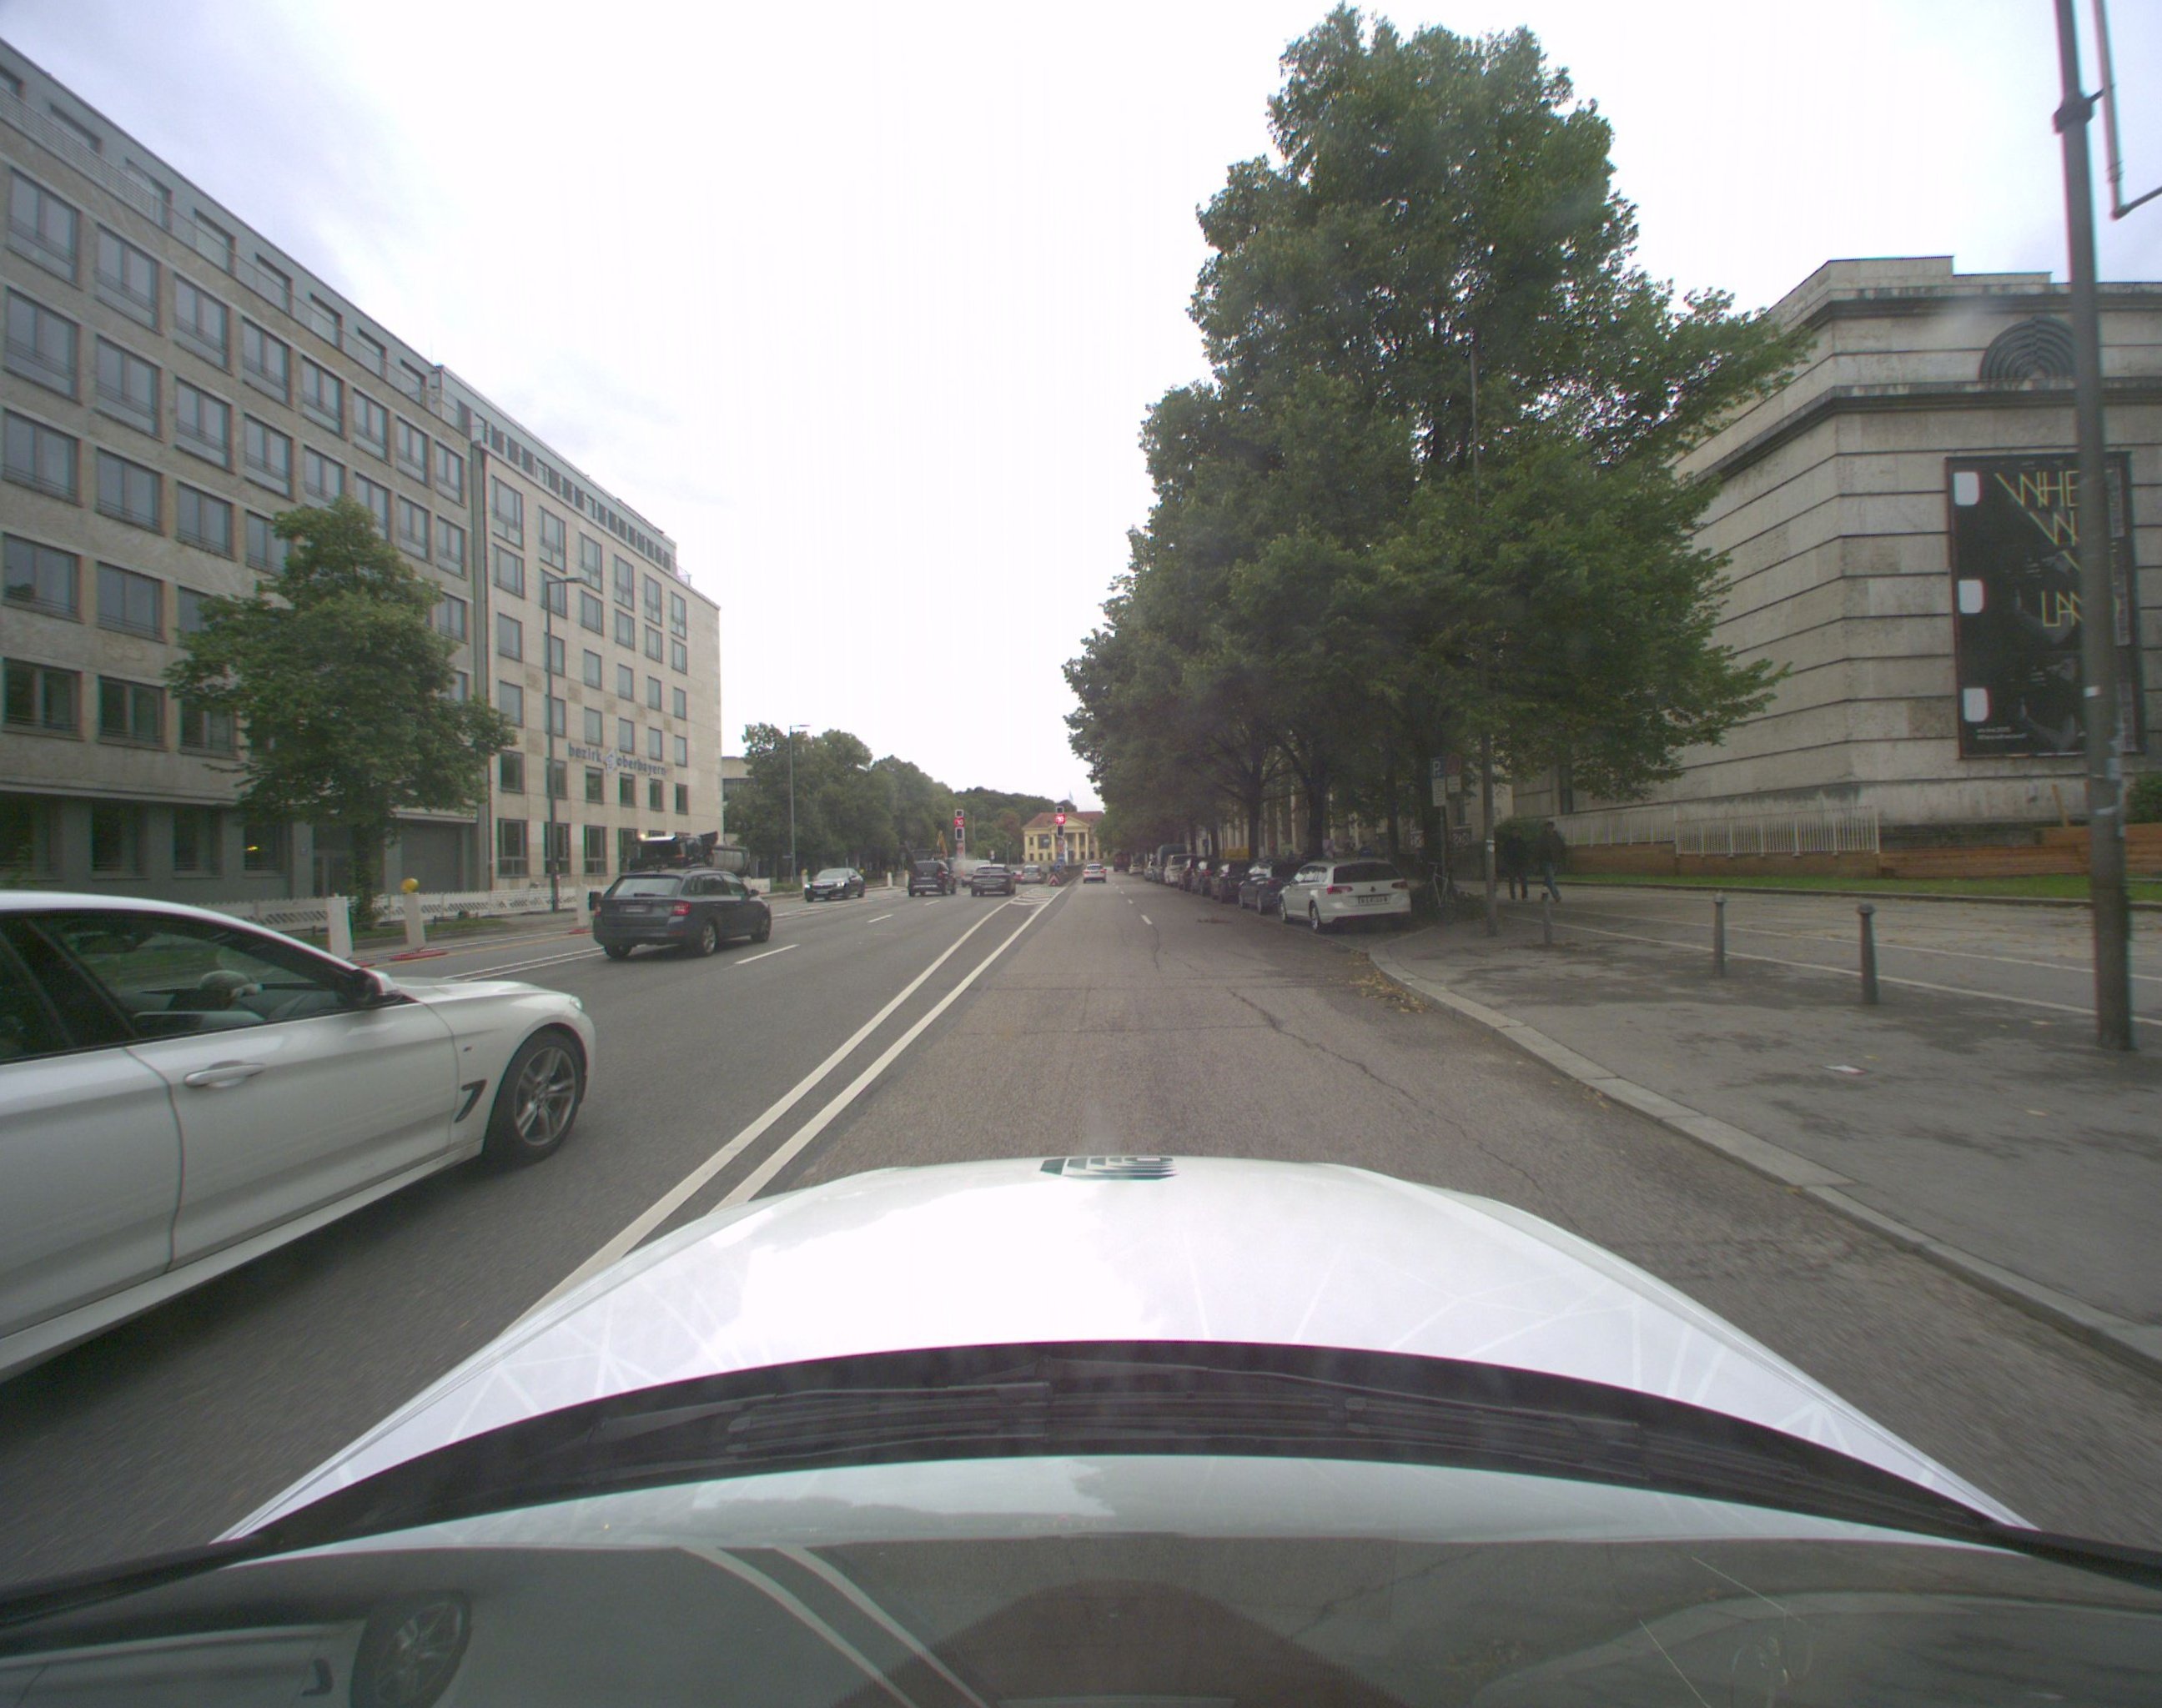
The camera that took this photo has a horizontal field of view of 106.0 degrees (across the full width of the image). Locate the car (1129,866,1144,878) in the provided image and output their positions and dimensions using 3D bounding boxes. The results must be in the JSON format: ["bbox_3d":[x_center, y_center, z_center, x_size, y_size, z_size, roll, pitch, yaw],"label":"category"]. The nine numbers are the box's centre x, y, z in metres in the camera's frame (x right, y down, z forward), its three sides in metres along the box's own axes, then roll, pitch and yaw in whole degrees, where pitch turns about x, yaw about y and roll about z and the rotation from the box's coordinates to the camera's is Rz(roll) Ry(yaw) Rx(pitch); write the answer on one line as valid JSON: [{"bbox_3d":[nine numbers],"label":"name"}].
[{"bbox_3d":[6.971,2.272,102.446,1.718,1.324,4.029,-2,-1,2],"label":"car"}]

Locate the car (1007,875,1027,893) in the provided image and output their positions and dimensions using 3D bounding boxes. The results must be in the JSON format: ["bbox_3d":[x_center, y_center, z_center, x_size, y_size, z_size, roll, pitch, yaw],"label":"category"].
[{"bbox_3d":[-6.582,3.096,84.234,1.654,1.728,3.444,-2,-1,2],"label":"car"}]

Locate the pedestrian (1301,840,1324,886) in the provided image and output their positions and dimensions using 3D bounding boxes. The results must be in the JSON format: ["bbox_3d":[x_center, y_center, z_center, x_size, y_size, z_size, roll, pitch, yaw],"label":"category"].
[{"bbox_3d":[9.778,0.393,34.439,0.776,1.910,0.771,-1,-1,1],"label":"pedestrian"}]

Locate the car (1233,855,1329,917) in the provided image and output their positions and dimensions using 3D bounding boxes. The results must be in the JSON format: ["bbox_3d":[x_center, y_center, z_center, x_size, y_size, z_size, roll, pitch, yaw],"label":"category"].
[{"bbox_3d":[5.658,0.866,23.601,1.718,1.550,4.587,-2,-1,2],"label":"car"}]

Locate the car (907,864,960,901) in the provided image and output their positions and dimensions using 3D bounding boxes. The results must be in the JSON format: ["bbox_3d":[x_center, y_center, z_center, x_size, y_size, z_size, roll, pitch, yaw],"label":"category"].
[{"bbox_3d":[-7.100,1.355,39.550,1.717,1.636,4.204,-2,-1,0],"label":"car"}]

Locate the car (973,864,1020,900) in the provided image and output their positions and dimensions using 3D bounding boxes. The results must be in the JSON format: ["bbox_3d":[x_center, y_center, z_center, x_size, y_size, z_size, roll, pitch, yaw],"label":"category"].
[{"bbox_3d":[-3.927,1.265,38.209,1.704,1.552,4.000,-1,-1,1],"label":"car"}]

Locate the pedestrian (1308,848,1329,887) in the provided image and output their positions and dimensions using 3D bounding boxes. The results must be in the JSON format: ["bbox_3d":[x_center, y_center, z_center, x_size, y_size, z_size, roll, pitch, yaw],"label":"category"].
[{"bbox_3d":[11.515,0.651,39.478,0.776,1.910,0.771,-1,-1,1],"label":"pedestrian"}]

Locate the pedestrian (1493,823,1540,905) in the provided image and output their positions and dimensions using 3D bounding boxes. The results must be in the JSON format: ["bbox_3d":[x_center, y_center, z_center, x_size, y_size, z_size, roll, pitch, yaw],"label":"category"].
[{"bbox_3d":[10.336,0.229,19.334,0.696,1.910,0.771,-1,-1,1],"label":"pedestrian"}]

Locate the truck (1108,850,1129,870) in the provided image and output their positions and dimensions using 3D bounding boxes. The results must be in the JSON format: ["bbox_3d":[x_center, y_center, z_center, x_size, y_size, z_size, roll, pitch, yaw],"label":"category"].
[{"bbox_3d":[6.380,1.059,139.798,3.313,3.367,8.663,-1,-1,1],"label":"truck"}]

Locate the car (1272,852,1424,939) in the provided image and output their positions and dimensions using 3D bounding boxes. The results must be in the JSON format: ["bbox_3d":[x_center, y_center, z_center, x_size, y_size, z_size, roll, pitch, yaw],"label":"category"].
[{"bbox_3d":[5.545,0.807,17.605,1.821,1.550,4.753,-2,-1,2],"label":"car"}]

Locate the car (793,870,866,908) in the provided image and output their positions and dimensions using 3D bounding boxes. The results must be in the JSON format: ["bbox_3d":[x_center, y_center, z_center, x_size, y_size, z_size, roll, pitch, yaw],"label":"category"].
[{"bbox_3d":[-11.665,1.592,38.086,1.986,1.596,4.001,-2,-1,2],"label":"car"}]

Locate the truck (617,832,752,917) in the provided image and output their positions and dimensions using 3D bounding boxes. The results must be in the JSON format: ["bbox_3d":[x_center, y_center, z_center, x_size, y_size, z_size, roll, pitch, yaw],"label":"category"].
[{"bbox_3d":[-17.575,0.845,36.866,2.838,3.357,8.741,0,-1,-7],"label":"truck"}]

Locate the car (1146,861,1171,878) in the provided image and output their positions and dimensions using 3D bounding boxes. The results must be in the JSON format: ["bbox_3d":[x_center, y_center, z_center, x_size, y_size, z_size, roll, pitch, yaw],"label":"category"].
[{"bbox_3d":[6.409,1.270,67.481,1.718,1.324,4.029,-2,-1,2],"label":"car"}]

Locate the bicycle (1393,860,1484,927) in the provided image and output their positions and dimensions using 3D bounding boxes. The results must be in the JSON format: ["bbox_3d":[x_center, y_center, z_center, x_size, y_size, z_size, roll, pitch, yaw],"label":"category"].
[{"bbox_3d":[7.090,0.747,16.326,0.626,1.231,2.617,0,-1,-1],"label":"bicycle"}]

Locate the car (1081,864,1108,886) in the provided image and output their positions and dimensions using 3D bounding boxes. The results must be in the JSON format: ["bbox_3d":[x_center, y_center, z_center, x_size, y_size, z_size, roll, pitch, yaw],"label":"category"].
[{"bbox_3d":[1.049,1.599,64.003,1.776,1.644,3.994,0,-1,-4],"label":"car"}]

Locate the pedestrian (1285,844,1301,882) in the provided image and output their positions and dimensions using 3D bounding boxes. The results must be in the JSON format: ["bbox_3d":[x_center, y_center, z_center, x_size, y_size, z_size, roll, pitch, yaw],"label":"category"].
[{"bbox_3d":[10.989,0.464,42.233,0.640,1.910,0.682,-1,-1,1],"label":"pedestrian"}]

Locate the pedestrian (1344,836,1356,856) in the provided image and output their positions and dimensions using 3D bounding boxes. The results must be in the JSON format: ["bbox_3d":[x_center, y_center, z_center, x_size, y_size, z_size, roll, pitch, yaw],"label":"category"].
[{"bbox_3d":[18.395,-0.554,55.688,0.564,1.373,0.646,-1,-1,1],"label":"pedestrian"}]

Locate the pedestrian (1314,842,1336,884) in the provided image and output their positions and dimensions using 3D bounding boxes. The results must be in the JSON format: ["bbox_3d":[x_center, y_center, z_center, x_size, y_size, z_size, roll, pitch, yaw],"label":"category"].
[{"bbox_3d":[11.440,0.417,38.186,0.776,1.910,0.771,-1,-1,1],"label":"pedestrian"}]

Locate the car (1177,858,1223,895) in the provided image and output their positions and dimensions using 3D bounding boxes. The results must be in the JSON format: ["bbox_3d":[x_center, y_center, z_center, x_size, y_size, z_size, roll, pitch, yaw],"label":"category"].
[{"bbox_3d":[5.886,1.096,40.876,1.718,1.665,4.591,-2,-1,2],"label":"car"}]

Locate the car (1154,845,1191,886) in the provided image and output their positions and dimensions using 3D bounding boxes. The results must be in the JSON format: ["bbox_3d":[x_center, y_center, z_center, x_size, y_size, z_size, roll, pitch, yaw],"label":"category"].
[{"bbox_3d":[6.198,0.788,55.602,1.987,2.643,4.876,-1,-1,0],"label":"car"}]

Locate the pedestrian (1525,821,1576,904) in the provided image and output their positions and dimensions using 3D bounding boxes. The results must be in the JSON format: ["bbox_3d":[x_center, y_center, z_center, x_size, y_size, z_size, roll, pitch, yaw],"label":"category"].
[{"bbox_3d":[11.119,0.206,19.309,0.761,1.910,0.771,-1,-1,1],"label":"pedestrian"}]

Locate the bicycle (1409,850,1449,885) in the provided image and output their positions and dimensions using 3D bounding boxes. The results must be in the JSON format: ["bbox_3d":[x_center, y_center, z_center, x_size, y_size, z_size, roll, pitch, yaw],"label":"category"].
[{"bbox_3d":[14.756,0.557,34.564,0.697,1.415,2.299,-2,-1,1],"label":"bicycle"}]

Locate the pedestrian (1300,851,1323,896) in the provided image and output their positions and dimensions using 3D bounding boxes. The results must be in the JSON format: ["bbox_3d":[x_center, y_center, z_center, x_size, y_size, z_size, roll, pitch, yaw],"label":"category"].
[{"bbox_3d":[9.773,0.823,34.524,0.776,1.910,0.771,-1,-1,1],"label":"pedestrian"}]

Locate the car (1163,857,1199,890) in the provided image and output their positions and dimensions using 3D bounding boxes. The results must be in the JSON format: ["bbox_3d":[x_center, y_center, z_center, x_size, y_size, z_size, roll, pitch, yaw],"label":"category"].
[{"bbox_3d":[5.929,1.150,48.812,1.718,1.867,4.029,-2,-1,2],"label":"car"}]

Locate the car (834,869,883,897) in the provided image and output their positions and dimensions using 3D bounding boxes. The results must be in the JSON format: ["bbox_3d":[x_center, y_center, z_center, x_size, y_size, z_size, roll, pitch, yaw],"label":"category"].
[{"bbox_3d":[-13.740,1.752,50.575,1.988,1.596,3.996,-2,-1,-2],"label":"car"}]

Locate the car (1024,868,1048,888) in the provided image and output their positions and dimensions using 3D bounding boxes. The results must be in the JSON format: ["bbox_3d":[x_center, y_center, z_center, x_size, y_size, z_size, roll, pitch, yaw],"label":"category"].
[{"bbox_3d":[-3.750,1.986,68.196,1.773,1.654,4.000,-1,-1,0],"label":"car"}]

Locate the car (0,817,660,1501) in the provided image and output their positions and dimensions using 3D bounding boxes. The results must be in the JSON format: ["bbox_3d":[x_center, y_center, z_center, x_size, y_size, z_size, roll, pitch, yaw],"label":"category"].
[{"bbox_3d":[-3.495,0.764,2.421,1.786,1.636,5.026,-2,-1,0],"label":"car"}]

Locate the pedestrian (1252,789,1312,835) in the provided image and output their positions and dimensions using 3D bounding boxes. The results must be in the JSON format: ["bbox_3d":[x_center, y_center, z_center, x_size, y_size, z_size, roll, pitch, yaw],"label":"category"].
[{"bbox_3d":[9.671,-1.985,39.546,1.986,2.014,4.001,-1,-1,1],"label":"pedestrian"}]

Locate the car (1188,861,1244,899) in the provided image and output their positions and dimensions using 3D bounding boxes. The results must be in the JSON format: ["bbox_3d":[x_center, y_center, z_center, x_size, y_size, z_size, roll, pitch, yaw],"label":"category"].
[{"bbox_3d":[5.776,1.097,35.157,1.816,1.465,4.029,-2,-1,2],"label":"car"}]

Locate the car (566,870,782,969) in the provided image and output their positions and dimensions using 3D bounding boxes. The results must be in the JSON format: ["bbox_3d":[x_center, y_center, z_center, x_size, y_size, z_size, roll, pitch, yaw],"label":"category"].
[{"bbox_3d":[-7.063,1.050,14.696,1.788,1.447,4.272,-2,-1,-1],"label":"car"}]

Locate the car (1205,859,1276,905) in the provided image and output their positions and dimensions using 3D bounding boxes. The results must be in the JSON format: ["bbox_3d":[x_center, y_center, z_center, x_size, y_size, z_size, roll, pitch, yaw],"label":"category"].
[{"bbox_3d":[5.670,0.972,29.472,1.718,1.465,4.777,-2,-1,2],"label":"car"}]

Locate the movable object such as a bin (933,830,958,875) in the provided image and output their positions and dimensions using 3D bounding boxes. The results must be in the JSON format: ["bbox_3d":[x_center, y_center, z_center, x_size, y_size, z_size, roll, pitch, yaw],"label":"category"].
[{"bbox_3d":[-20.367,-0.174,122.642,2.690,6.511,5.177,-1,-1,1],"label":"movable object such as a bin"}]

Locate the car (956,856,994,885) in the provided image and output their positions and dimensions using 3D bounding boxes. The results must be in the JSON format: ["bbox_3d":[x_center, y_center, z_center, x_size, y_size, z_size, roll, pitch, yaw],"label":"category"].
[{"bbox_3d":[-7.404,1.162,57.320,1.892,1.847,4.955,-2,-1,0],"label":"car"}]

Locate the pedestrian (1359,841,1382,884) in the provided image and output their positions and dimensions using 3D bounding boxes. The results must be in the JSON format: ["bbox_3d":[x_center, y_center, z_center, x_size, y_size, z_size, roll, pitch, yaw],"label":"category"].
[{"bbox_3d":[13.048,0.386,36.704,0.776,1.910,0.771,-1,-1,1],"label":"pedestrian"}]
